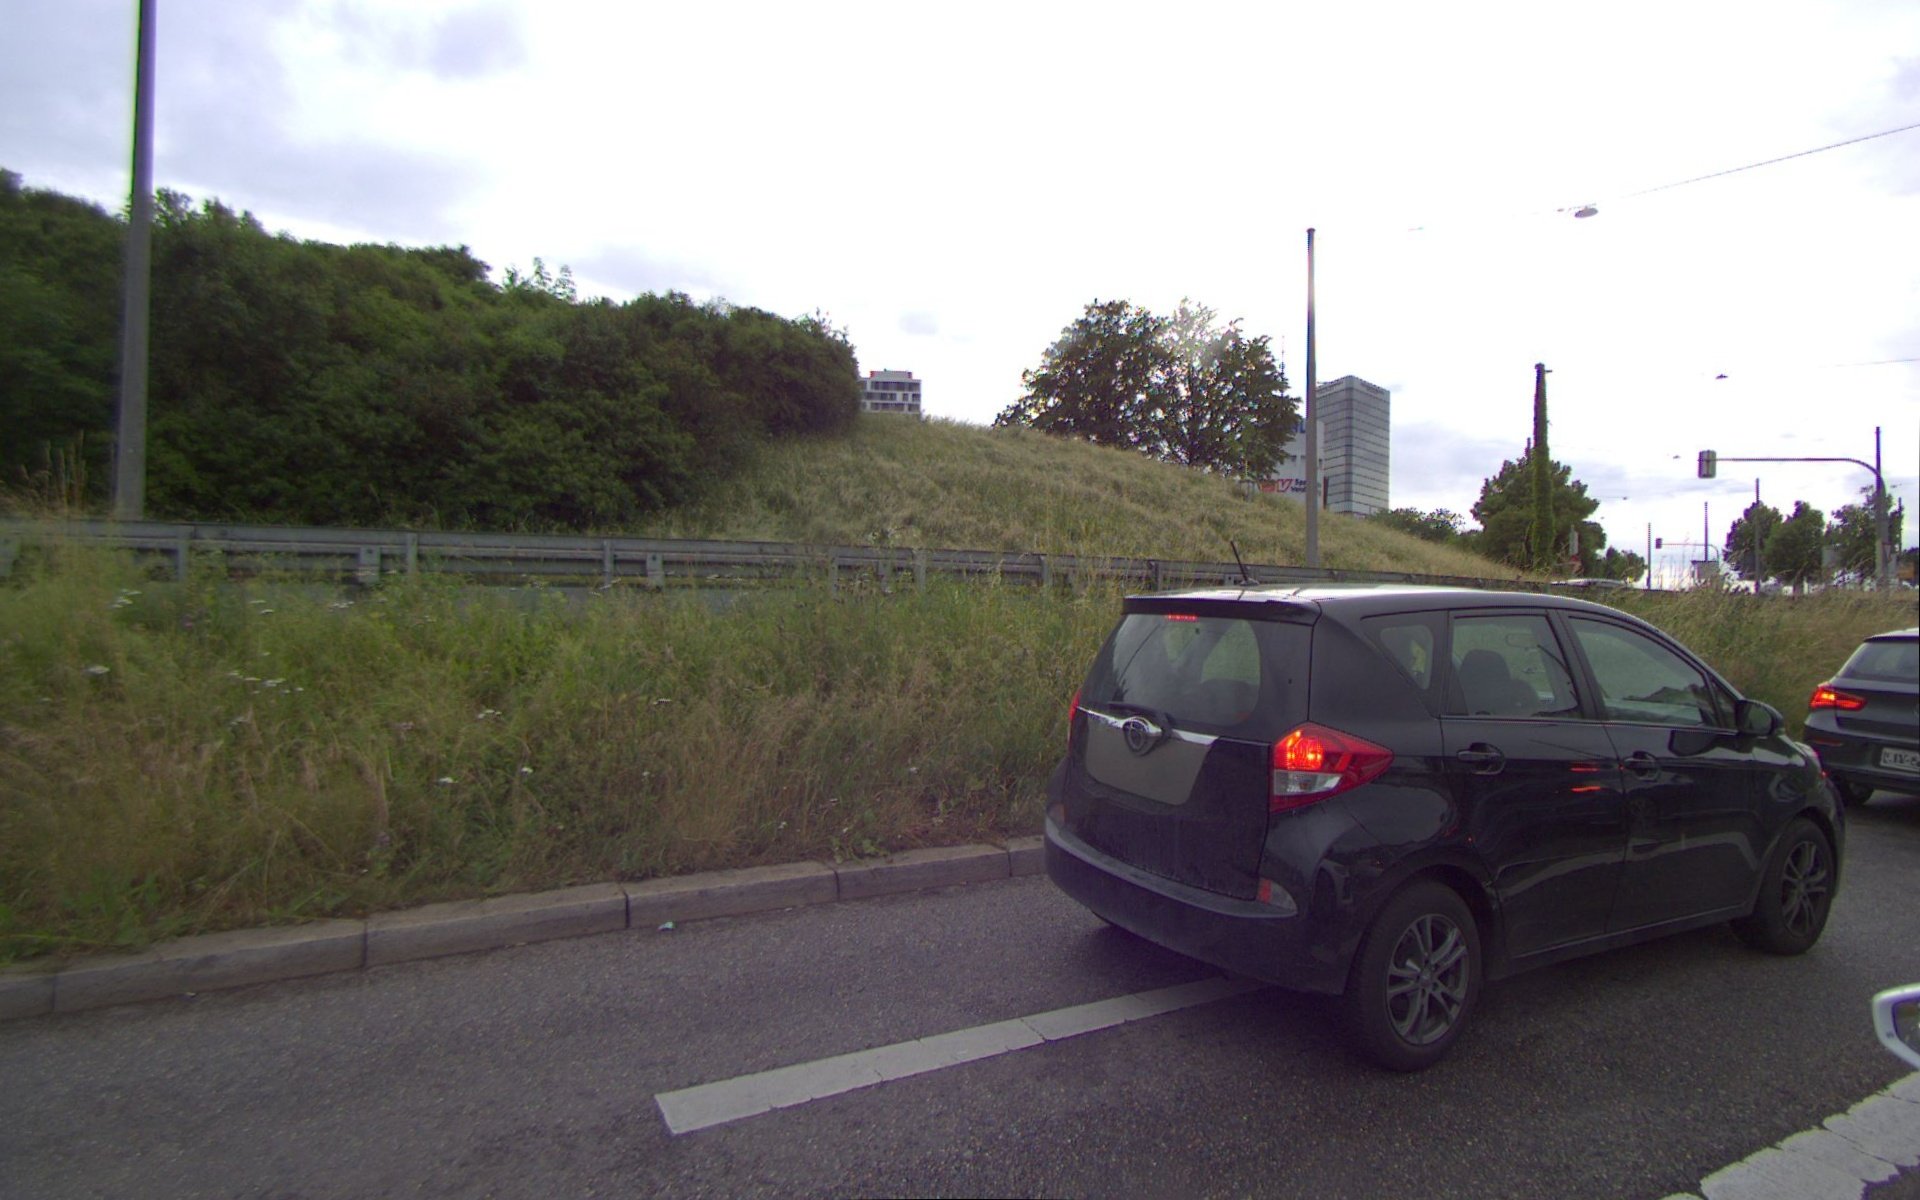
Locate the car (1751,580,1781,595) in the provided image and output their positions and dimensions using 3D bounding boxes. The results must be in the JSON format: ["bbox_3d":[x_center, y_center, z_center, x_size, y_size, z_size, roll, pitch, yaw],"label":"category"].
[{"bbox_3d":[105.498,-1.652,131.513,2.096,1.818,4.734,3,2,27],"label":"car"}]

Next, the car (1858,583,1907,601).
[{"bbox_3d":[83.997,-0.690,91.520,1.962,1.497,4.499,2,-1,25],"label":"car"}]

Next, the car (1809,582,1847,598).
[{"bbox_3d":[93.339,-1.072,108.021,1.962,1.497,4.417,2,-1,25],"label":"car"}]

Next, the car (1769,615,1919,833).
[{"bbox_3d":[8.363,0.876,7.738,4.058,1.479,1.698,1,-1,-25],"label":"car"}]

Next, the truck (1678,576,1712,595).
[{"bbox_3d":[125.633,-2.459,171.724,3.206,3.116,6.171,4,3,23],"label":"truck"}]

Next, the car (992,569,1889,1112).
[{"bbox_3d":[2.179,0.702,4.440,3.731,1.525,1.635,1,2,-28],"label":"car"}]

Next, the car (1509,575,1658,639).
[{"bbox_3d":[15.986,0.178,25.740,3.634,1.537,1.727,1,1,-30],"label":"car"}]
